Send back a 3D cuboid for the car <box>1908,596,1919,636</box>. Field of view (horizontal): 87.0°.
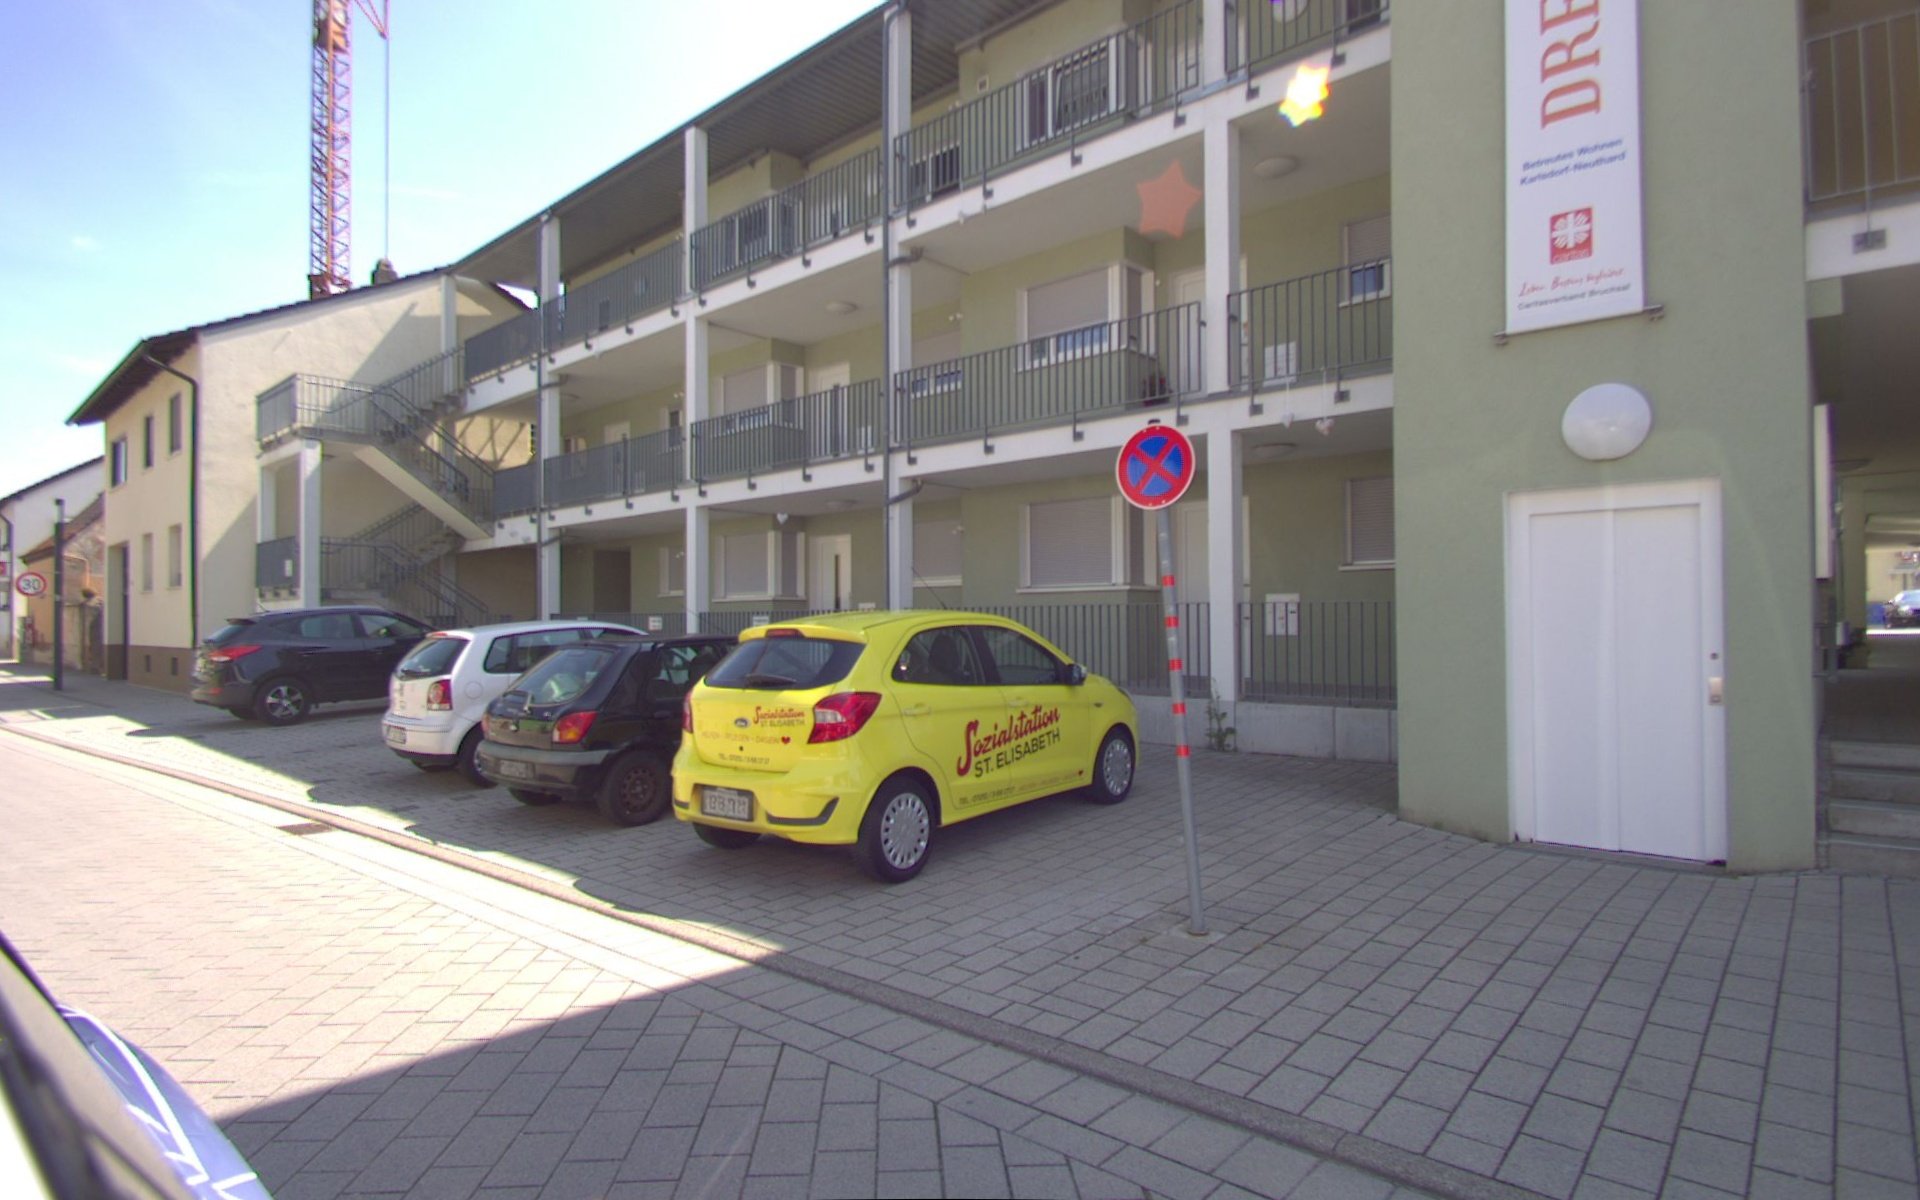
[{"bbox_3d":[30.668,0.433,29.772,3.999,1.165,1.606,-2,0,42],"label":"car"}]

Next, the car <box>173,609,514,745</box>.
[{"bbox_3d":[-9.429,1.070,15.739,1.784,1.671,4.174,-2,0,42],"label":"car"}]

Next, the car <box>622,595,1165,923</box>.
[{"bbox_3d":[-0.216,0.804,6.974,1.670,1.536,3.656,-2,0,39],"label":"car"}]

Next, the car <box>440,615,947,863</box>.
[{"bbox_3d":[-2.081,0.966,8.782,1.690,1.452,3.945,-2,1,41],"label":"car"}]

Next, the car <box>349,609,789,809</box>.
[{"bbox_3d":[-3.892,0.954,10.523,1.751,1.514,3.858,-2,0,43],"label":"car"}]
